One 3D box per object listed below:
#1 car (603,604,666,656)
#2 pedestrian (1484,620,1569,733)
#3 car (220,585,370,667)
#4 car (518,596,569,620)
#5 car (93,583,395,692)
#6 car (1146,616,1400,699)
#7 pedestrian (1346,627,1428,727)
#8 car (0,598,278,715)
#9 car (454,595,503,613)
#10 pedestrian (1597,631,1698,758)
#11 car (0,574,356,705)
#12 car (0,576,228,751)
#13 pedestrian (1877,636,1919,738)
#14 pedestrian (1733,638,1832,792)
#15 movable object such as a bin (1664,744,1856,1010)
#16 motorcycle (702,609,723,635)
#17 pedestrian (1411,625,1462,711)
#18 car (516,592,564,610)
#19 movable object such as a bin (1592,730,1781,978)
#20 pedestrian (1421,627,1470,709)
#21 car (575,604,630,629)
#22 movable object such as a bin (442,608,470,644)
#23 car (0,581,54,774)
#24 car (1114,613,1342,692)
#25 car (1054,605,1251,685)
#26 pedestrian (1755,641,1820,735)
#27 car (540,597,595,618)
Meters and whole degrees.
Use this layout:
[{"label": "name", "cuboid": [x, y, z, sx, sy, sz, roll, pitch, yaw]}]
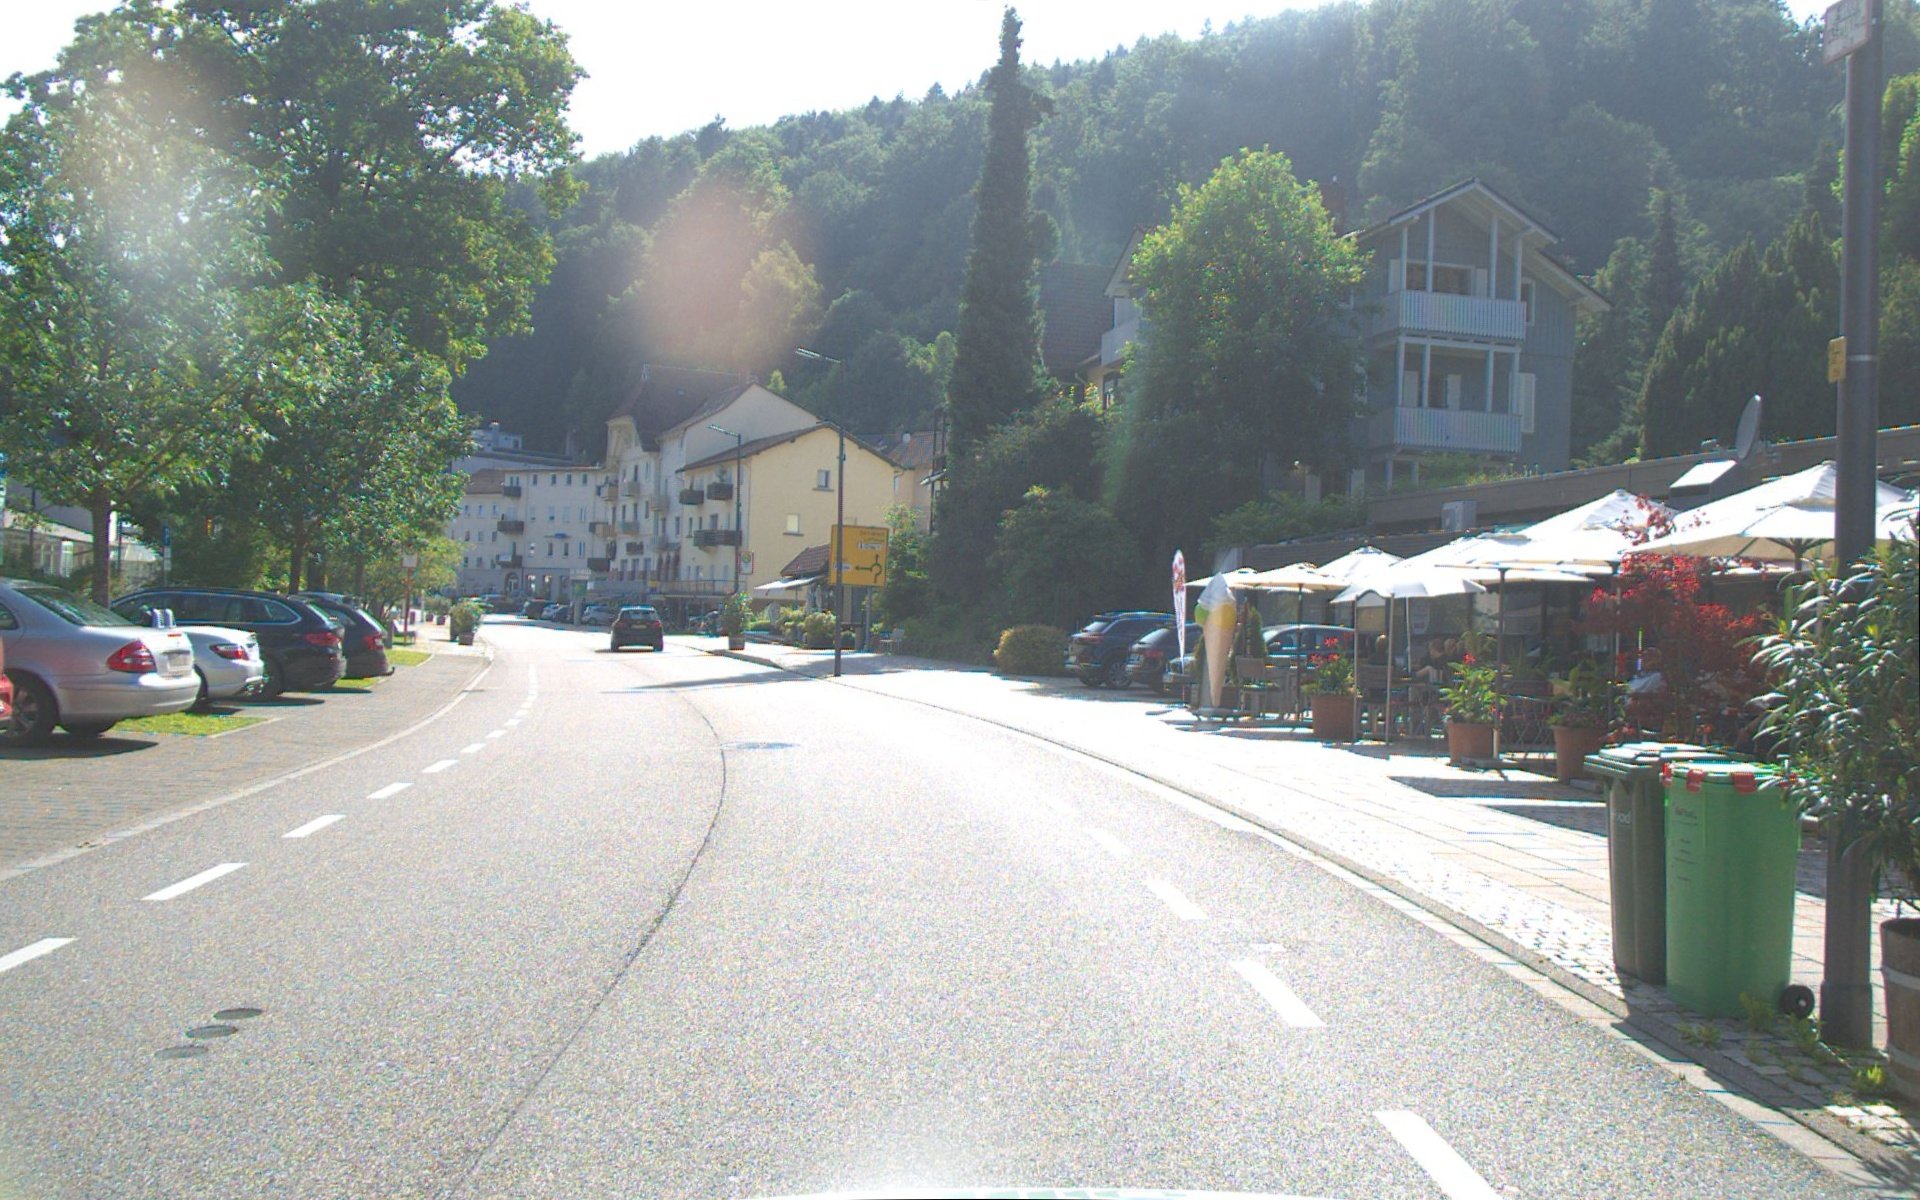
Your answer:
[{"label": "car", "cuboid": [-11.633, 1.040, 58.978, 1.701, 1.601, 3.734, 3, 1, -18]}, {"label": "pedestrian", "cuboid": [7.267, 0.965, 21.212, 0.695, 1.405, 0.799, 1, -1, -44]}, {"label": "car", "cuboid": [-14.401, 0.569, 35.936, 2.602, 1.574, 1.679, 4, -1, -9]}, {"label": "car", "cuboid": [-36.911, 0.712, 146.439, 4.031, 1.695, 1.759, 6, -2, -25]}, {"label": "car", "cuboid": [-11.322, 0.613, 26.453, 4.213, 1.457, 1.702, 4, -2, -21]}, {"label": "car", "cuboid": [5.610, 1.027, 29.769, 4.189, 1.403, 1.703, 1, -1, -14]}, {"label": "pedestrian", "cuboid": [5.650, 1.006, 21.897, 0.799, 1.283, 0.695, 1, -1, -23]}, {"label": "car", "cuboid": [-10.449, 0.664, 20.099, 3.731, 1.265, 1.755, 3, -1, -16]}, {"label": "car", "cuboid": [-44.550, 0.358, 153.028, 3.954, 1.691, 1.975, 0, 0, -36]}, {"label": "pedestrian", "cuboid": [7.197, 0.976, 17.343, 0.792, 1.283, 0.701, 1, -1, 5]}, {"label": "car", "cuboid": [-10.780, 0.540, 22.758, 4.420, 1.536, 1.706, 3, -1, -16]}, {"label": "car", "cuboid": [-9.246, 0.474, 14.964, 4.404, 1.442, 1.804, 4, -2, -12]}, {"label": "pedestrian", "cuboid": [12.606, 1.145, 21.982, 0.672, 1.322, 0.637, 0, -1, 26]}, {"label": "pedestrian", "cuboid": [6.992, 0.961, 14.069, 0.467, 1.267, 0.587, 0, -1, -30]}, {"label": "movable object such as a bin", "cuboid": [3.021, 1.032, 6.271, 0.503, 0.928, 0.441, 0, 0, -4]}, {"label": "motorcycle", "cuboid": [-12.905, 1.140, 86.218, 0.686, 1.319, 2.200, -1, 0, -18]}, {"label": "pedestrian", "cuboid": [7.361, 1.043, 25.580, 0.683, 1.283, 0.813, 1, -1, 12]}, {"label": "car", "cuboid": [-39.136, 0.052, 154.243, 1.743, 1.542, 3.994, 3, 3, 45]}, {"label": "movable object such as a bin", "cuboid": [2.987, 1.029, 6.834, 0.537, 0.942, 0.519, 0, 0, -4]}, {"label": "pedestrian", "cuboid": [7.838, 1.088, 26.721, 0.683, 1.283, 0.813, 1, -1, 12]}, {"label": "car", "cuboid": [-28.513, 1.301, 131.939, 3.859, 1.616, 1.761, 5, -1, -25]}, {"label": "movable object such as a bin", "cuboid": [-21.555, 1.118, 70.712, 1.062, 1.452, 1.370, 4, -1, -18]}, {"label": "car", "cuboid": [-9.138, 0.465, 12.147, 3.917, 1.457, 1.714, 4, -2, -12]}, {"label": "car", "cuboid": [5.204, 1.020, 32.274, 4.039, 1.440, 1.742, 1, -1, -14]}, {"label": "car", "cuboid": [4.062, 0.939, 35.102, 3.809, 1.608, 1.742, 1, -1, -14]}, {"label": "pedestrian", "cuboid": [11.225, 1.188, 22.456, 0.671, 1.230, 0.701, 1, -1, 18]}, {"label": "car", "cuboid": [-33.842, 0.678, 142.594, 4.296, 1.486, 1.760, 4, -3, -23]}]
